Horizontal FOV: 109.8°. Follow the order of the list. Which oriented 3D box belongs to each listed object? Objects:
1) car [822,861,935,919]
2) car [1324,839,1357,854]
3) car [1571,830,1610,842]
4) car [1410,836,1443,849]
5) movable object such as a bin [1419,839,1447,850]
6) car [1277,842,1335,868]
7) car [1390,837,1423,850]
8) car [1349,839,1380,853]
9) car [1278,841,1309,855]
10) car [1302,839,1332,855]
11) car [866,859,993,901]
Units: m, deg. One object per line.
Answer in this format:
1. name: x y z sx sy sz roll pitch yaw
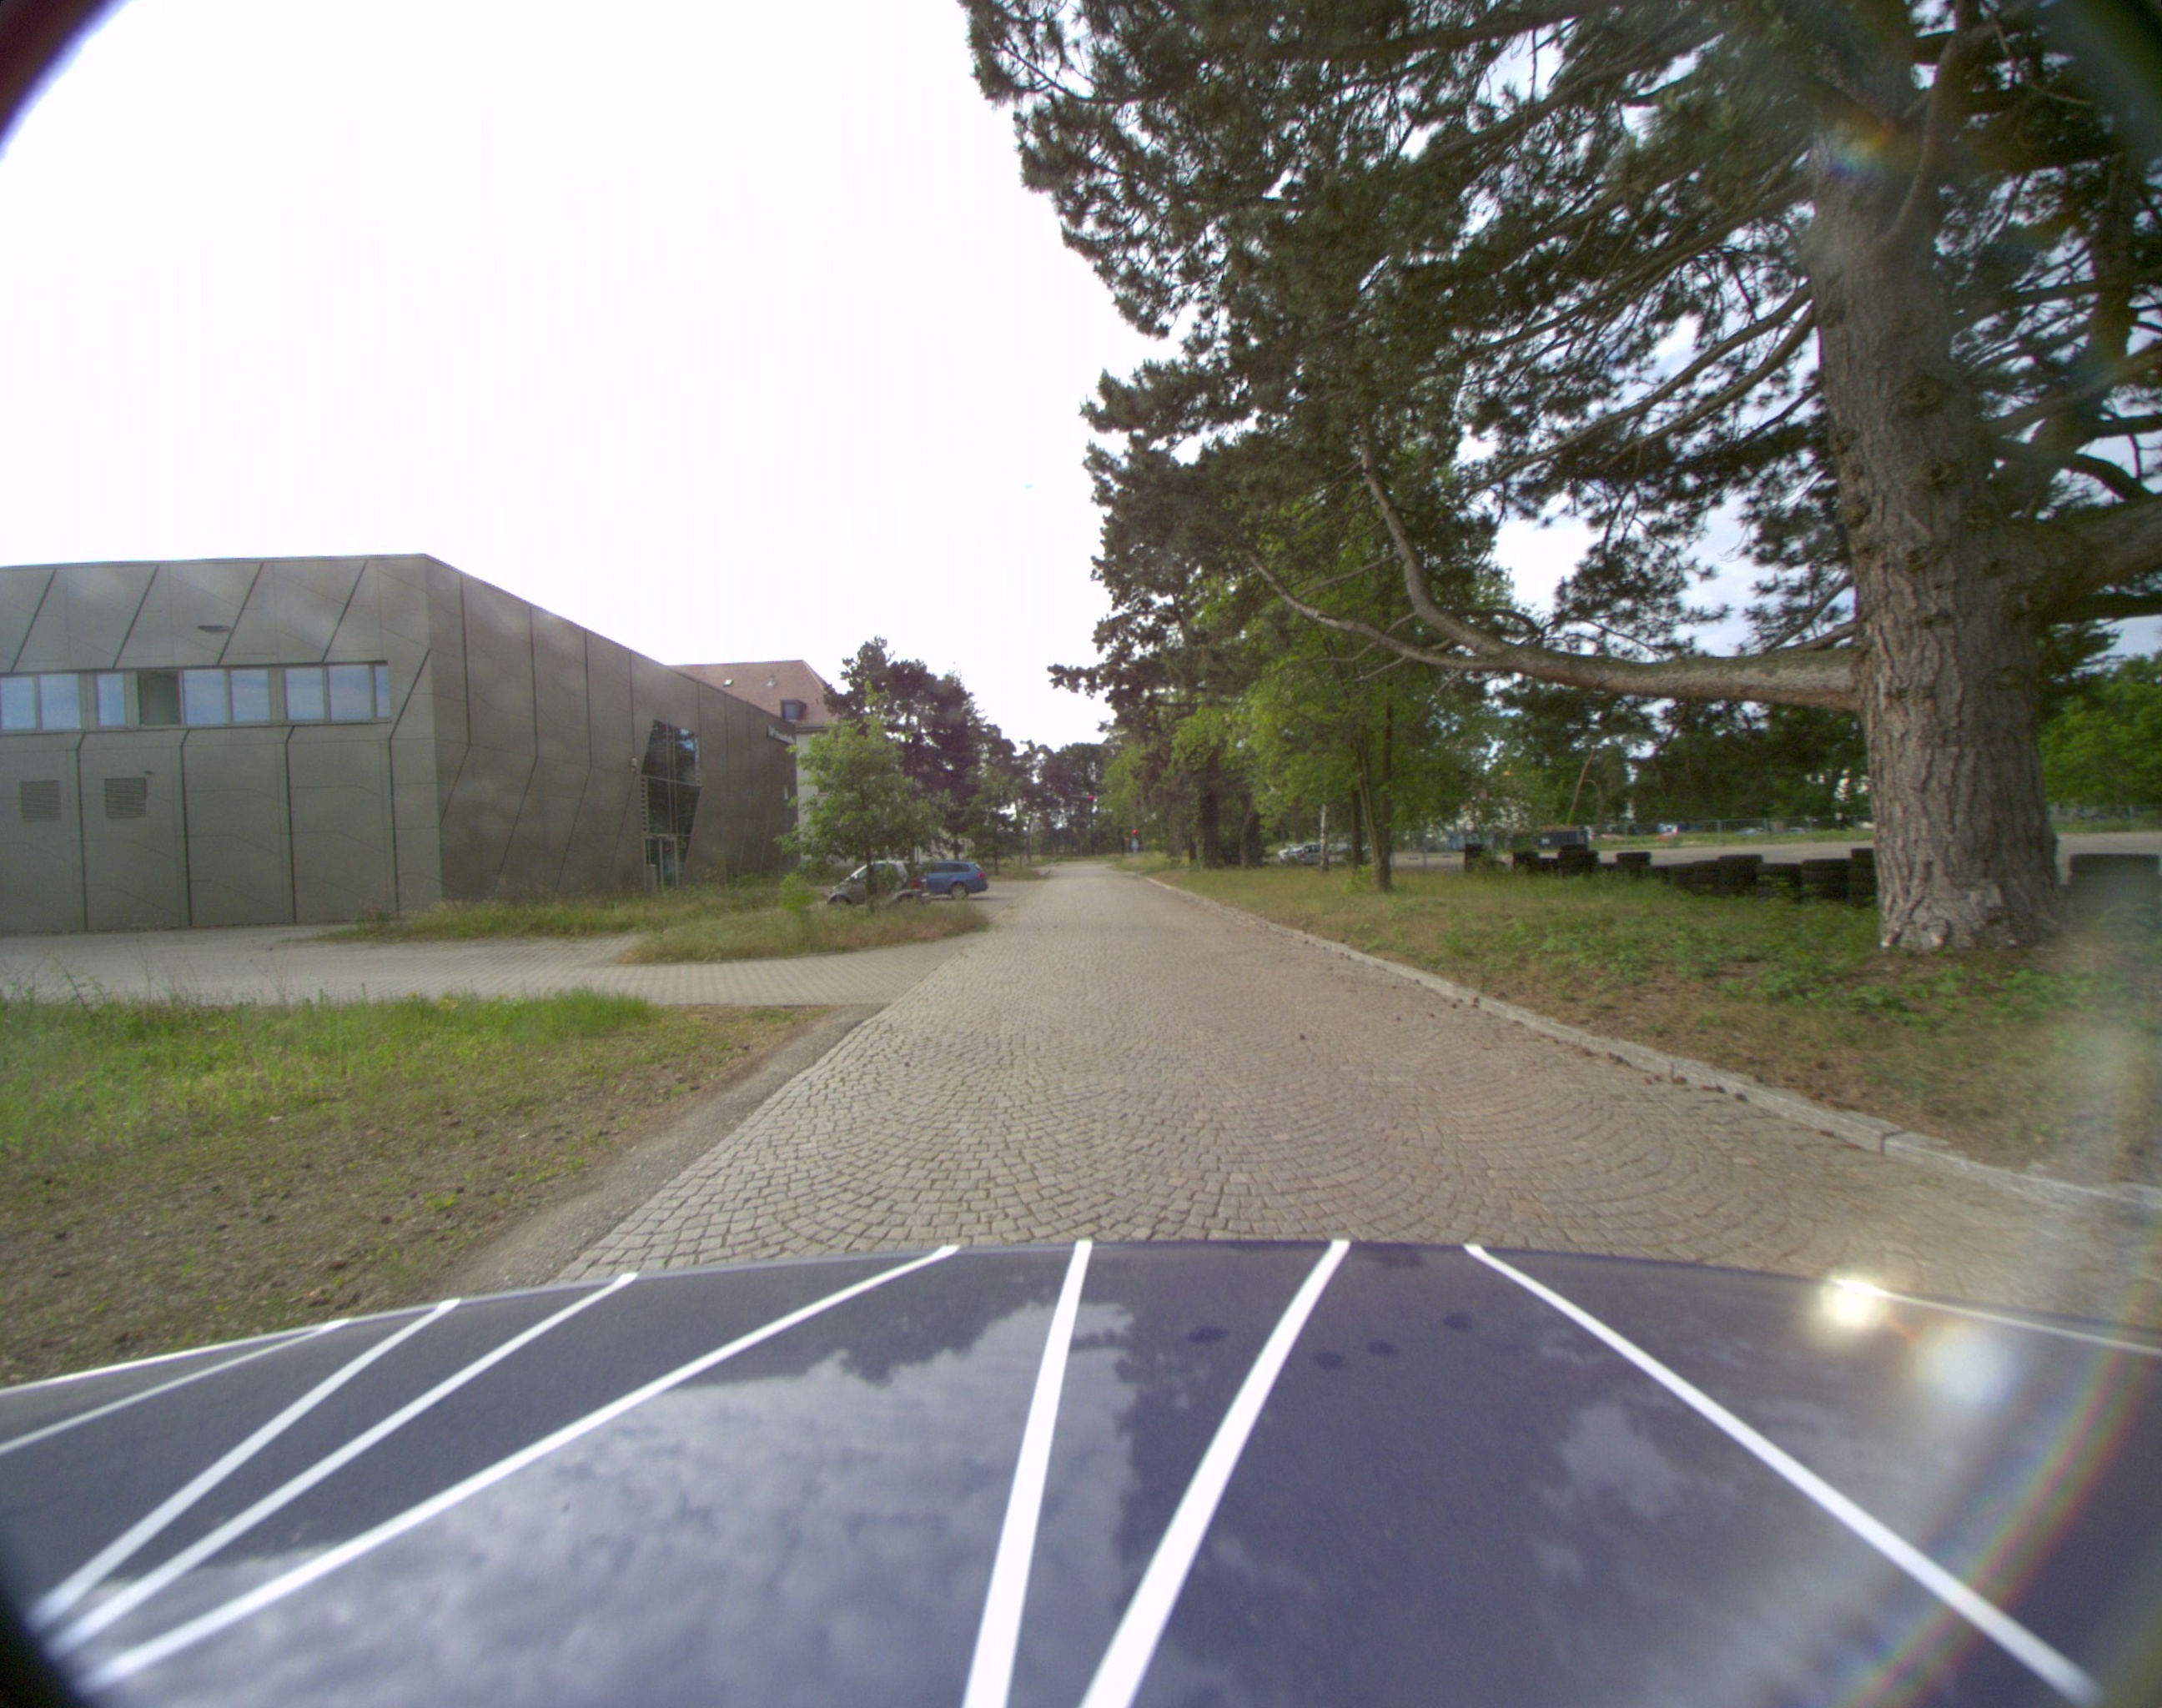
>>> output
1. car: -5.671 0.991 21.525 2.716 1.547 1.653 -1 1 2
2. car: 27.798 -0.825 81.567 1.829 1.467 4.401 -2 0 -3
3. car: 62.173 -2.203 92.865 1.711 1.343 4.401 -2 0 -1
4. car: 42.179 -1.432 92.930 1.829 1.467 4.401 -2 0 -3
5. movable object such as a bin: 31.957 -0.862 68.991 1.448 0.963 1.957 -2 1 -8
6. car: 12.761 0.030 43.395 1.829 1.408 4.420 0 0 -3
7. car: 39.635 -1.244 92.560 1.829 1.467 4.401 -2 0 -3
8. car: 30.589 -0.845 82.086 1.637 1.391 4.036 -2 0 -3
9. car: 22.651 -0.601 81.044 1.829 1.417 4.319 -2 0 -3
10. car: 25.155 -0.719 81.123 1.674 1.511 3.899 -2 -1 -3
11. car: -5.676 0.968 28.969 4.503 1.467 1.830 0 1 -3
